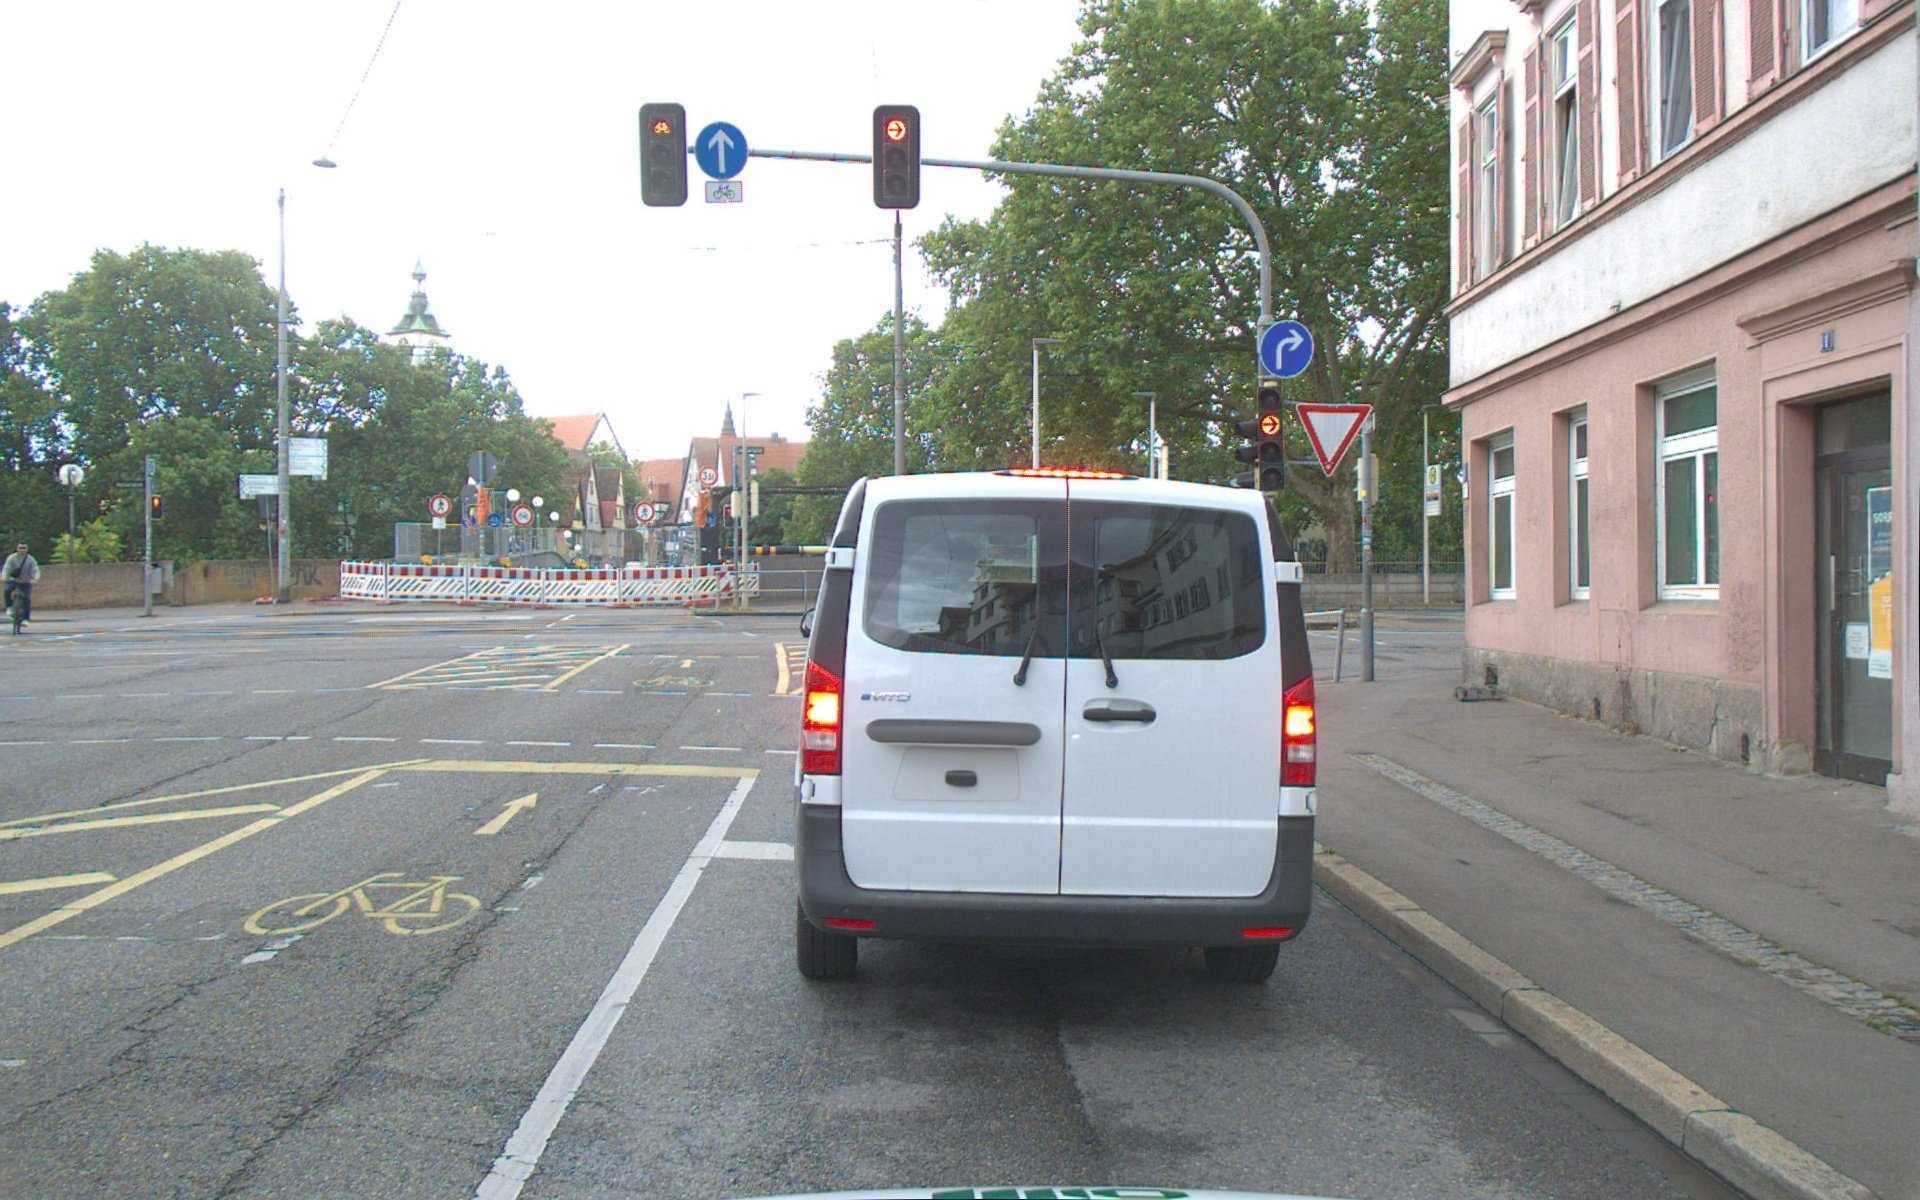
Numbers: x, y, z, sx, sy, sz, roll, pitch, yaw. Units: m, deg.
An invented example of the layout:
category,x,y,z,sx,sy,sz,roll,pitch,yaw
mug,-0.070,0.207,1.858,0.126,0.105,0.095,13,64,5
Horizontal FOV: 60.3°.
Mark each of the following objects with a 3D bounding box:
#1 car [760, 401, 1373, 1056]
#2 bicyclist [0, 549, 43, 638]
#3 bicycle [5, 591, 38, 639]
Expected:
category,x,y,z,sx,sy,sz,roll,pitch,yaw
car,0.305,0.348,7.587,1.911,2.048,4.698,1,2,-1
bicyclist,-18.556,-0.139,32.718,0.715,1.730,0.803,-1,0,-29
bicycle,-18.547,0.284,32.712,0.535,0.908,1.862,-1,1,-29
